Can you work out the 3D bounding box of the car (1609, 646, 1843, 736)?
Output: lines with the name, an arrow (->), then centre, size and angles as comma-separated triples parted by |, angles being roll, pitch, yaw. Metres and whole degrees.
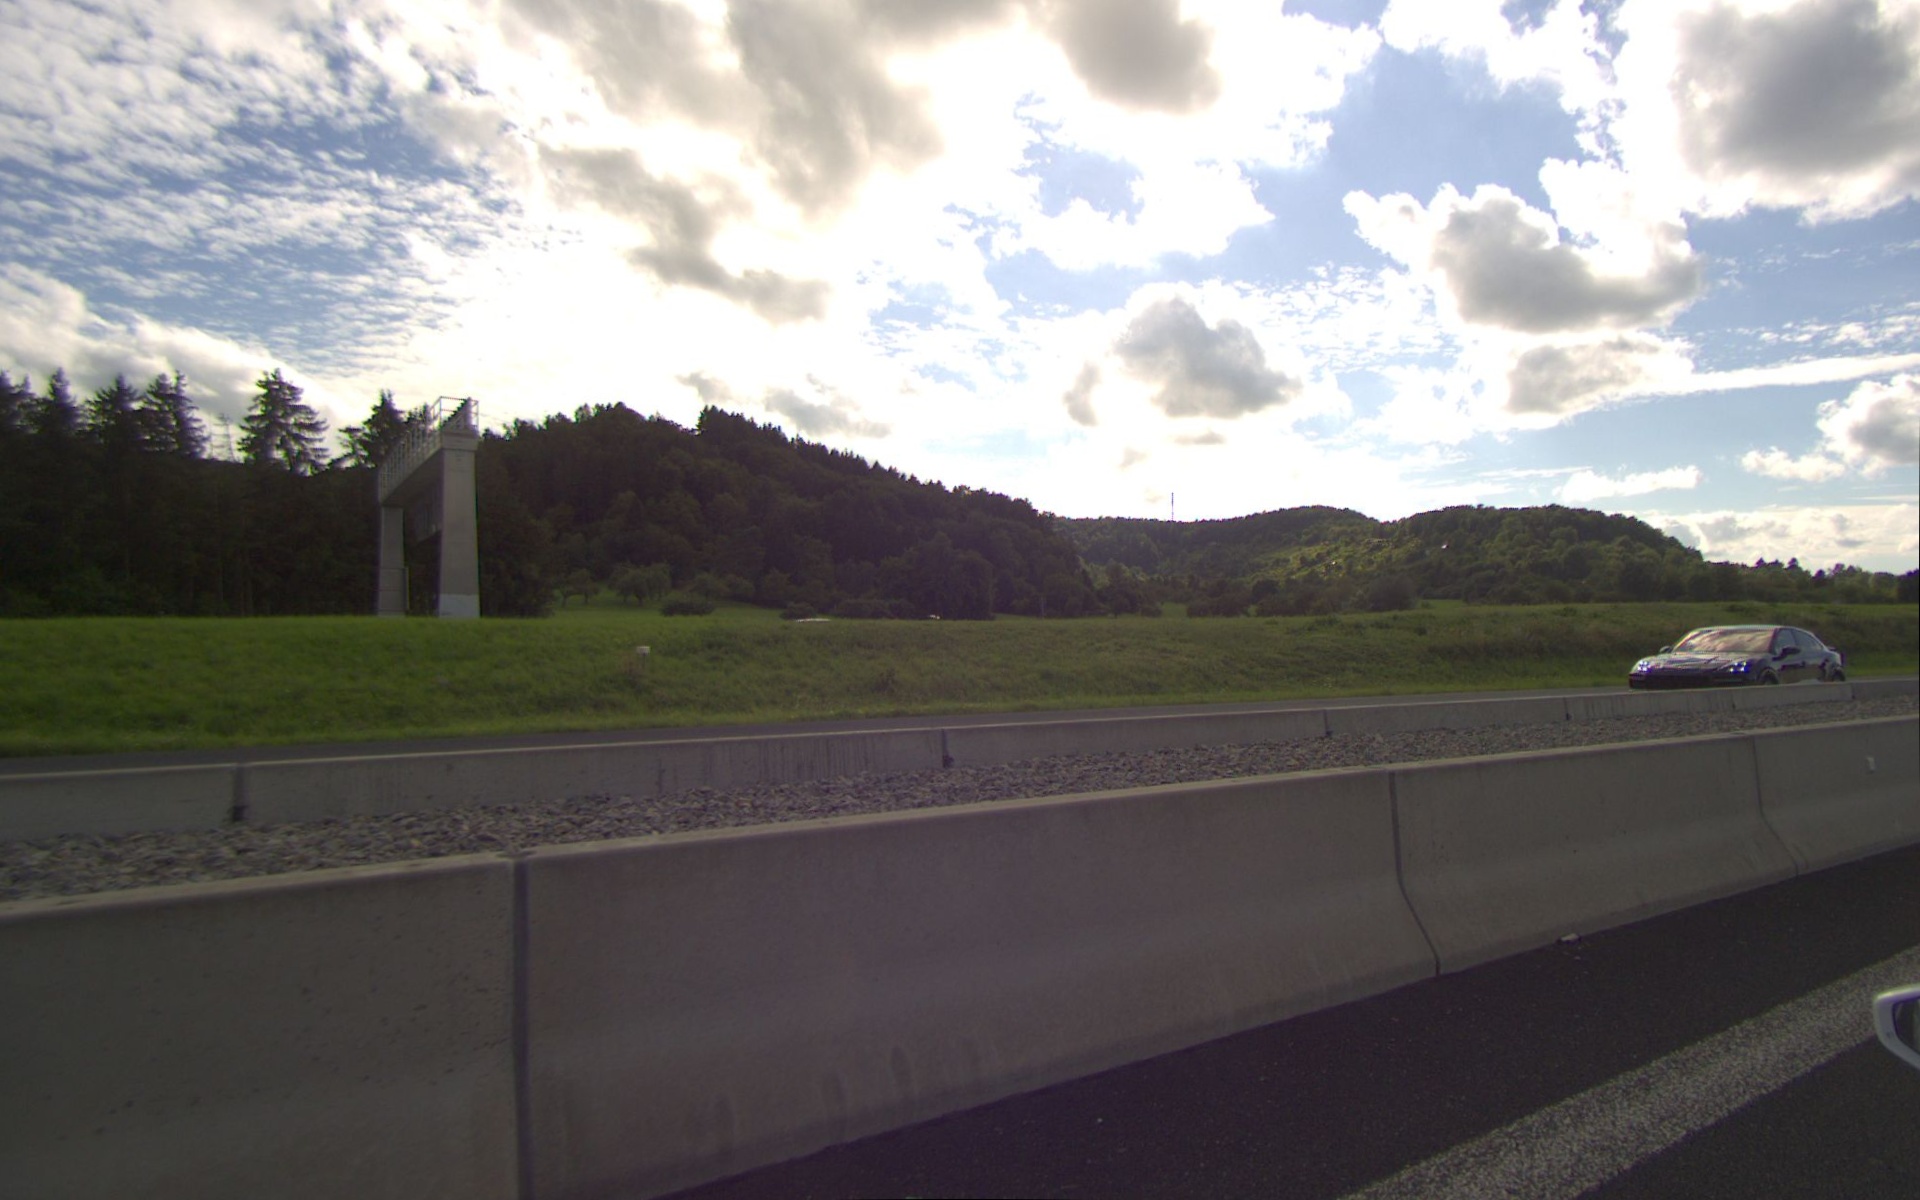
car -> 13.776, 1.548, 18.011 | 4.570, 1.416, 1.779 | 2, -3, -31
